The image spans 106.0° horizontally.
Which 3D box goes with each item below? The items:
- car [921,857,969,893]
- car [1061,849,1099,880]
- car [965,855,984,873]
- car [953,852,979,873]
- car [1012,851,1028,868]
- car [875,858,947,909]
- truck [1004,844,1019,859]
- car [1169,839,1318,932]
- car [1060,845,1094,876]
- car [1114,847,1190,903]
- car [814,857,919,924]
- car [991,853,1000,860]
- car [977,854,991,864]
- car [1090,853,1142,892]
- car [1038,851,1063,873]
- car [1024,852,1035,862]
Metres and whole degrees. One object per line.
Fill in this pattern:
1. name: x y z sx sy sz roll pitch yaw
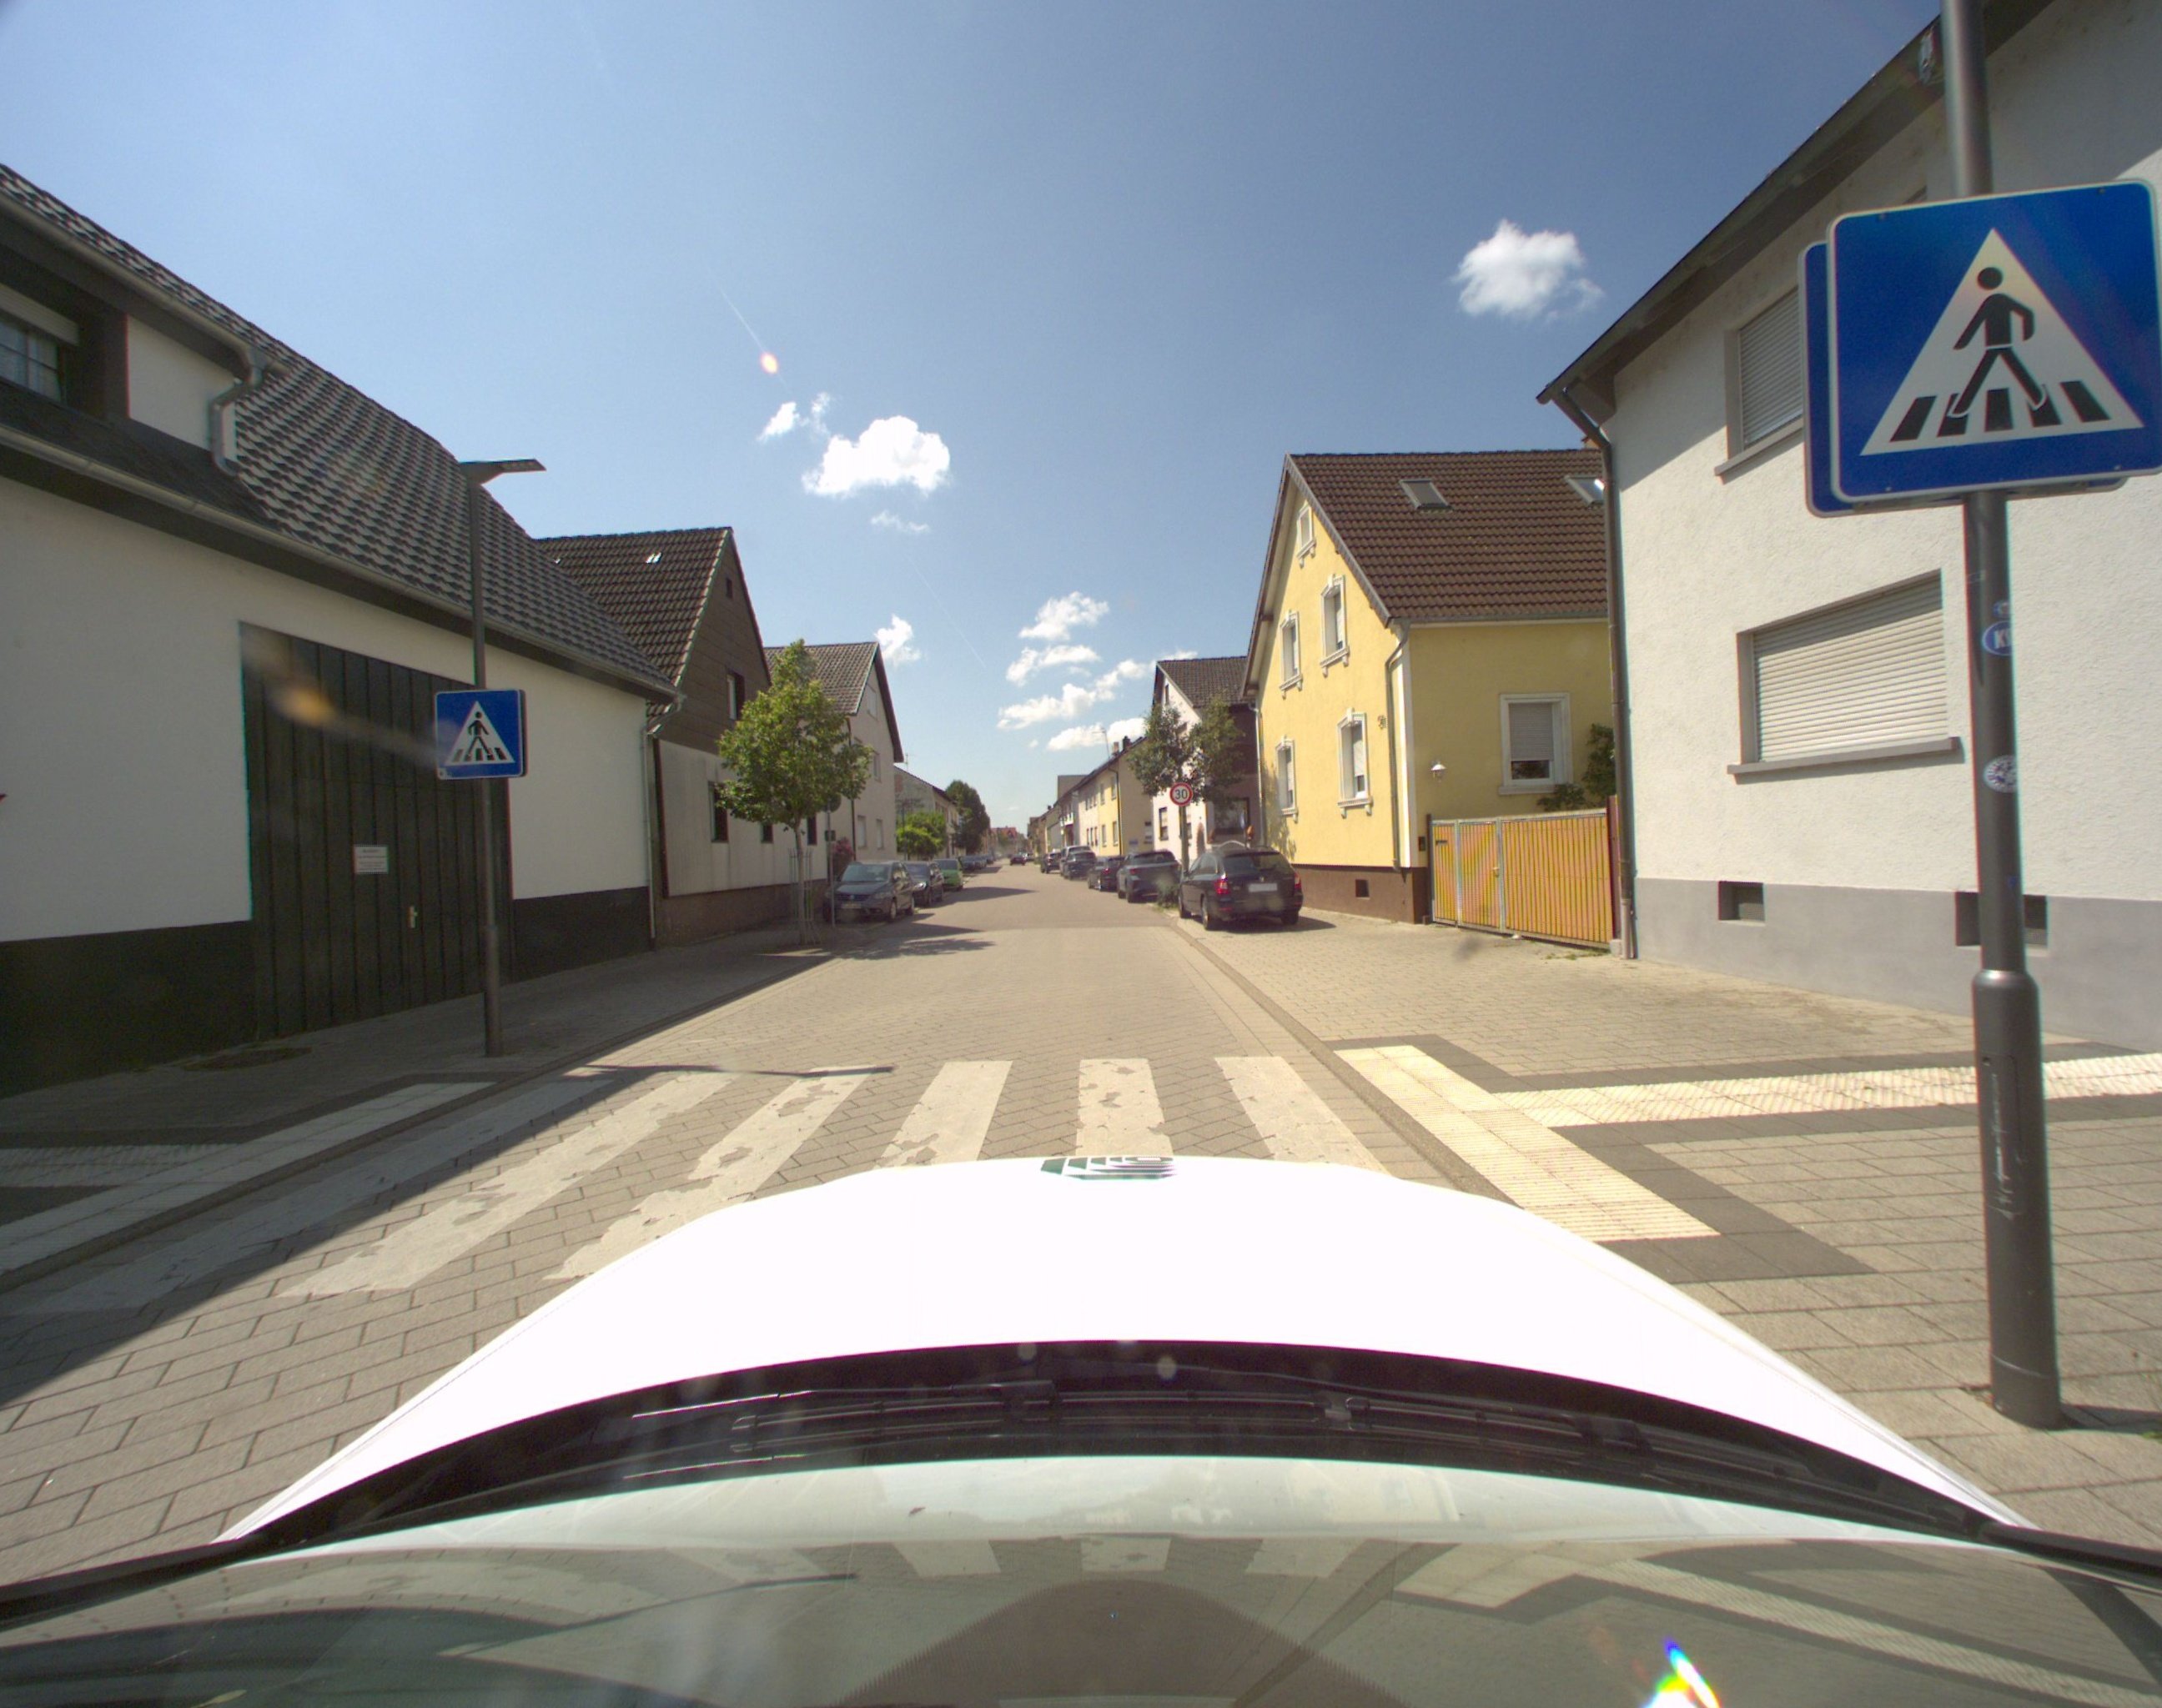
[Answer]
1. car: -6.343 0.939 38.322 1.789 1.475 3.865 -3 0 -4
2. car: -0.110 0.575 47.164 1.873 1.591 3.995 -3 0 -3
3. car: -11.183 1.041 85.934 1.680 1.758 3.610 -3 0 -4
4. car: -10.392 0.743 73.623 1.990 1.662 3.994 -3 0 -4
5. car: -7.856 0.742 105.043 1.990 2.057 4.368 -3 0 -4
6. car: -5.777 0.940 28.121 1.746 1.532 4.256 -1 0 -3
7. truck: -18.920 -0.748 221.415 3.560 3.953 8.563 -3 0 -6
8. car: 3.067 0.545 16.327 1.825 1.471 4.271 -5 0 -3
9. car: -0.312 0.383 52.858 1.903 1.871 3.995 -3 0 -3
10. car: 2.187 0.603 25.969 1.843 1.562 3.689 -3 0 -3
11. car: -5.604 0.890 21.806 1.742 1.530 3.999 -1 0 -1
12. car: -21.613 0.548 206.041 1.843 1.707 3.714 -3 0 -4
13. car: -15.285 0.800 128.936 1.913 1.442 3.994 -3 0 -4
14. car: 1.383 0.716 33.506 1.707 1.387 3.701 -3 0 -3
15. car: -2.348 0.561 61.917 1.750 1.492 3.995 -3 0 -3
16. car: -8.096 0.397 127.890 1.684 1.452 3.788 -3 0 -3
